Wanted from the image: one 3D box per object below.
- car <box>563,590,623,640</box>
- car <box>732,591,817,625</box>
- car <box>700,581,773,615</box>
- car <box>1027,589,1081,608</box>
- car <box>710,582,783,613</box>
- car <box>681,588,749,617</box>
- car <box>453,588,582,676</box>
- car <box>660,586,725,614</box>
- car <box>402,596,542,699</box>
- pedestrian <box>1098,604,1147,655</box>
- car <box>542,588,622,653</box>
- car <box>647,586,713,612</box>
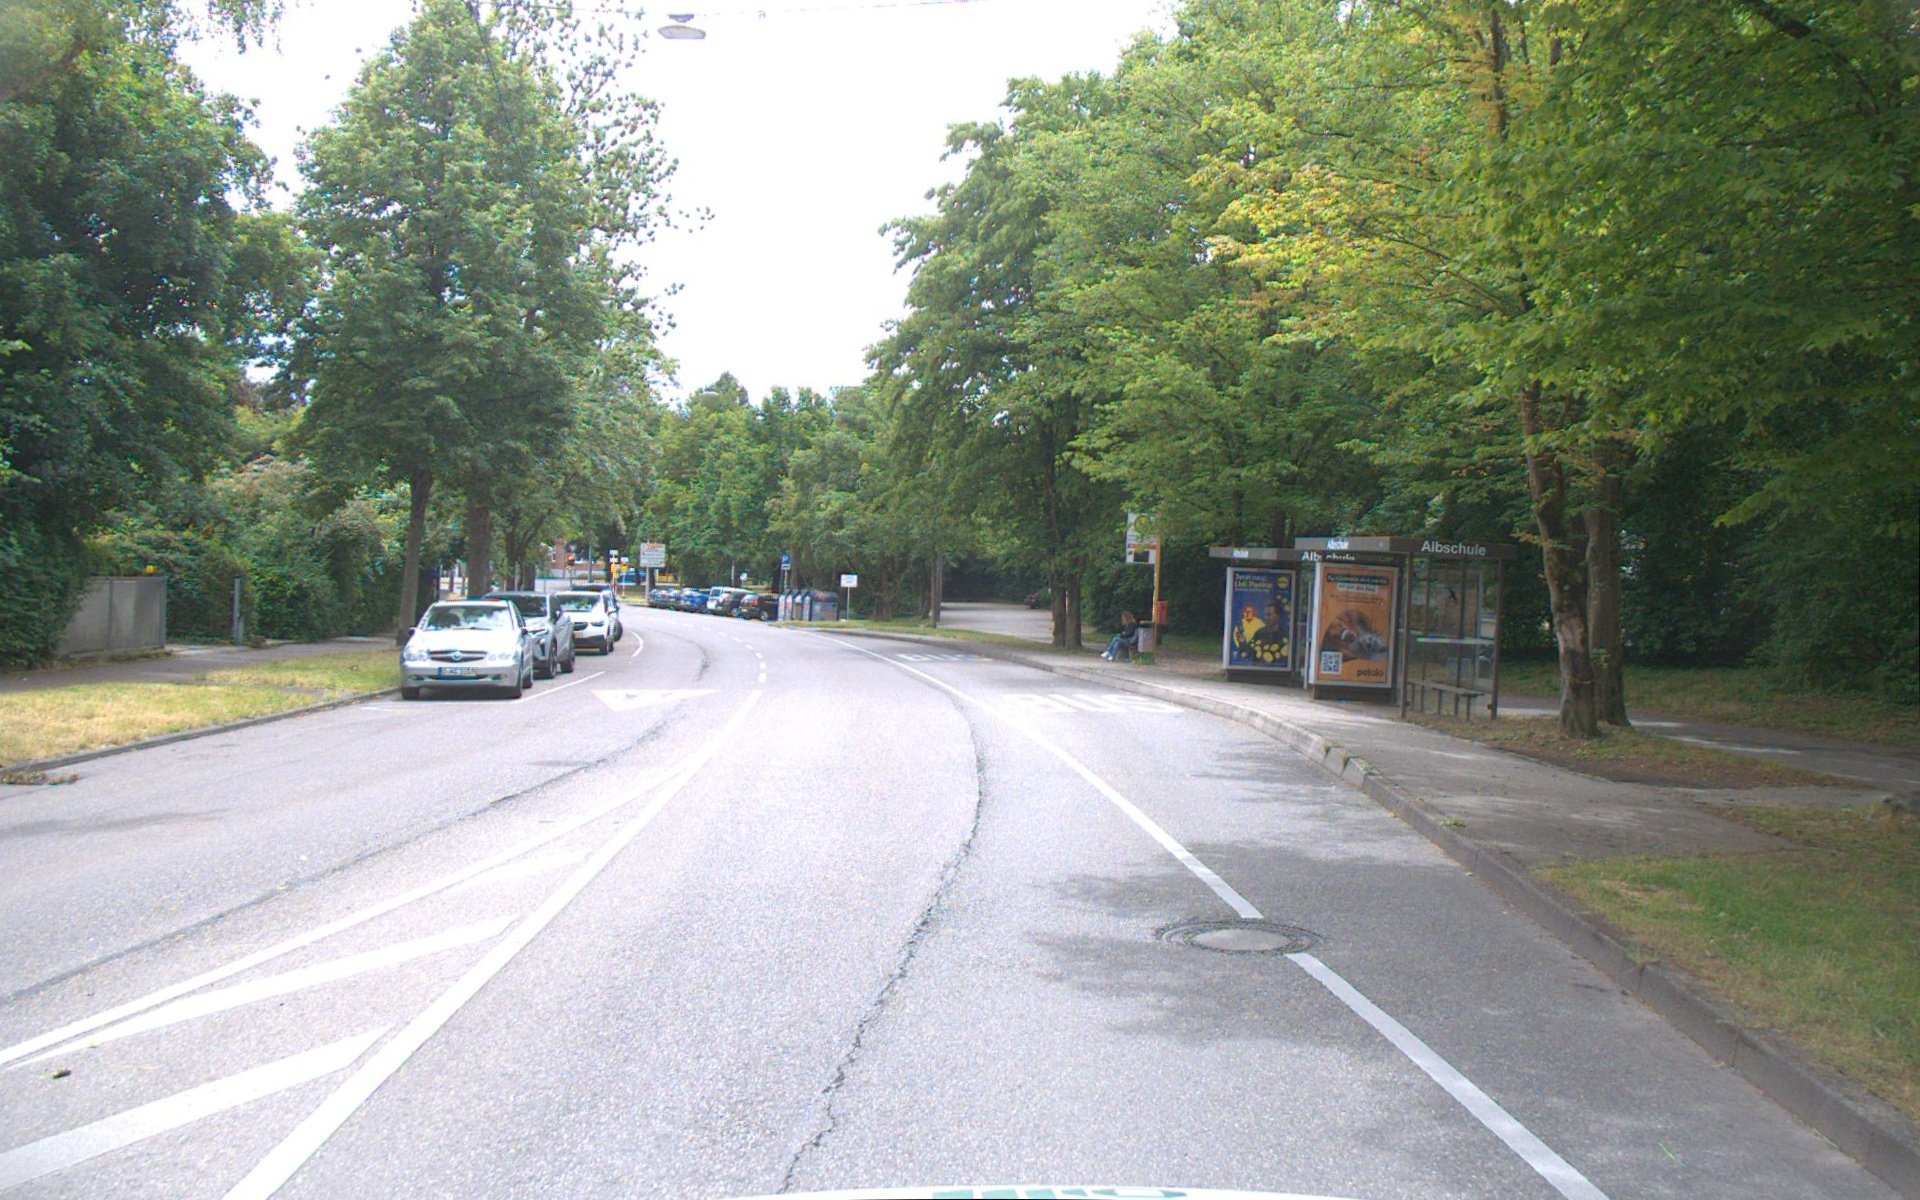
[{"bbox_3d":[-12.067,0.460,54.539,1.833,1.565,4.215,1,0,-12],"label":"car"},{"bbox_3d":[-9.816,0.412,87.556,3.961,1.438,2.029,5,0,-39],"label":"car"},{"bbox_3d":[-13.238,-0.110,98.043,3.794,1.750,1.852,5,-2,-39],"label":"car"},{"bbox_3d":[7.447,-0.146,130.972,3.919,1.434,1.793,1,0,-14],"label":"car"},{"bbox_3d":[-12.335,-0.147,95.581,3.794,1.493,1.722,5,-1,-39],"label":"car"},{"bbox_3d":[-15.183,0.147,102.440,3.794,1.555,1.722,5,-2,-39],"label":"car"},{"bbox_3d":[-8.361,0.561,31.585,1.702,1.565,4.184,0,0,-6],"label":"car"},{"bbox_3d":[-17.263,0.024,106.785,3.794,1.555,1.722,5,-2,-39],"label":"car"},{"bbox_3d":[-7.490,0.669,25.735,1.705,1.441,4.459,0,0,-12],"label":"car"},{"bbox_3d":[3.925,0.713,40.066,1.044,1.203,0.578,1,0,-11],"label":"pedestrian"},{"bbox_3d":[-9.825,0.498,43.209,1.703,1.606,4.133,0,0,-9],"label":"car"},{"bbox_3d":[-18.565,-0.063,109.698,3.848,1.451,1.804,5,-2,-39],"label":"car"}]
